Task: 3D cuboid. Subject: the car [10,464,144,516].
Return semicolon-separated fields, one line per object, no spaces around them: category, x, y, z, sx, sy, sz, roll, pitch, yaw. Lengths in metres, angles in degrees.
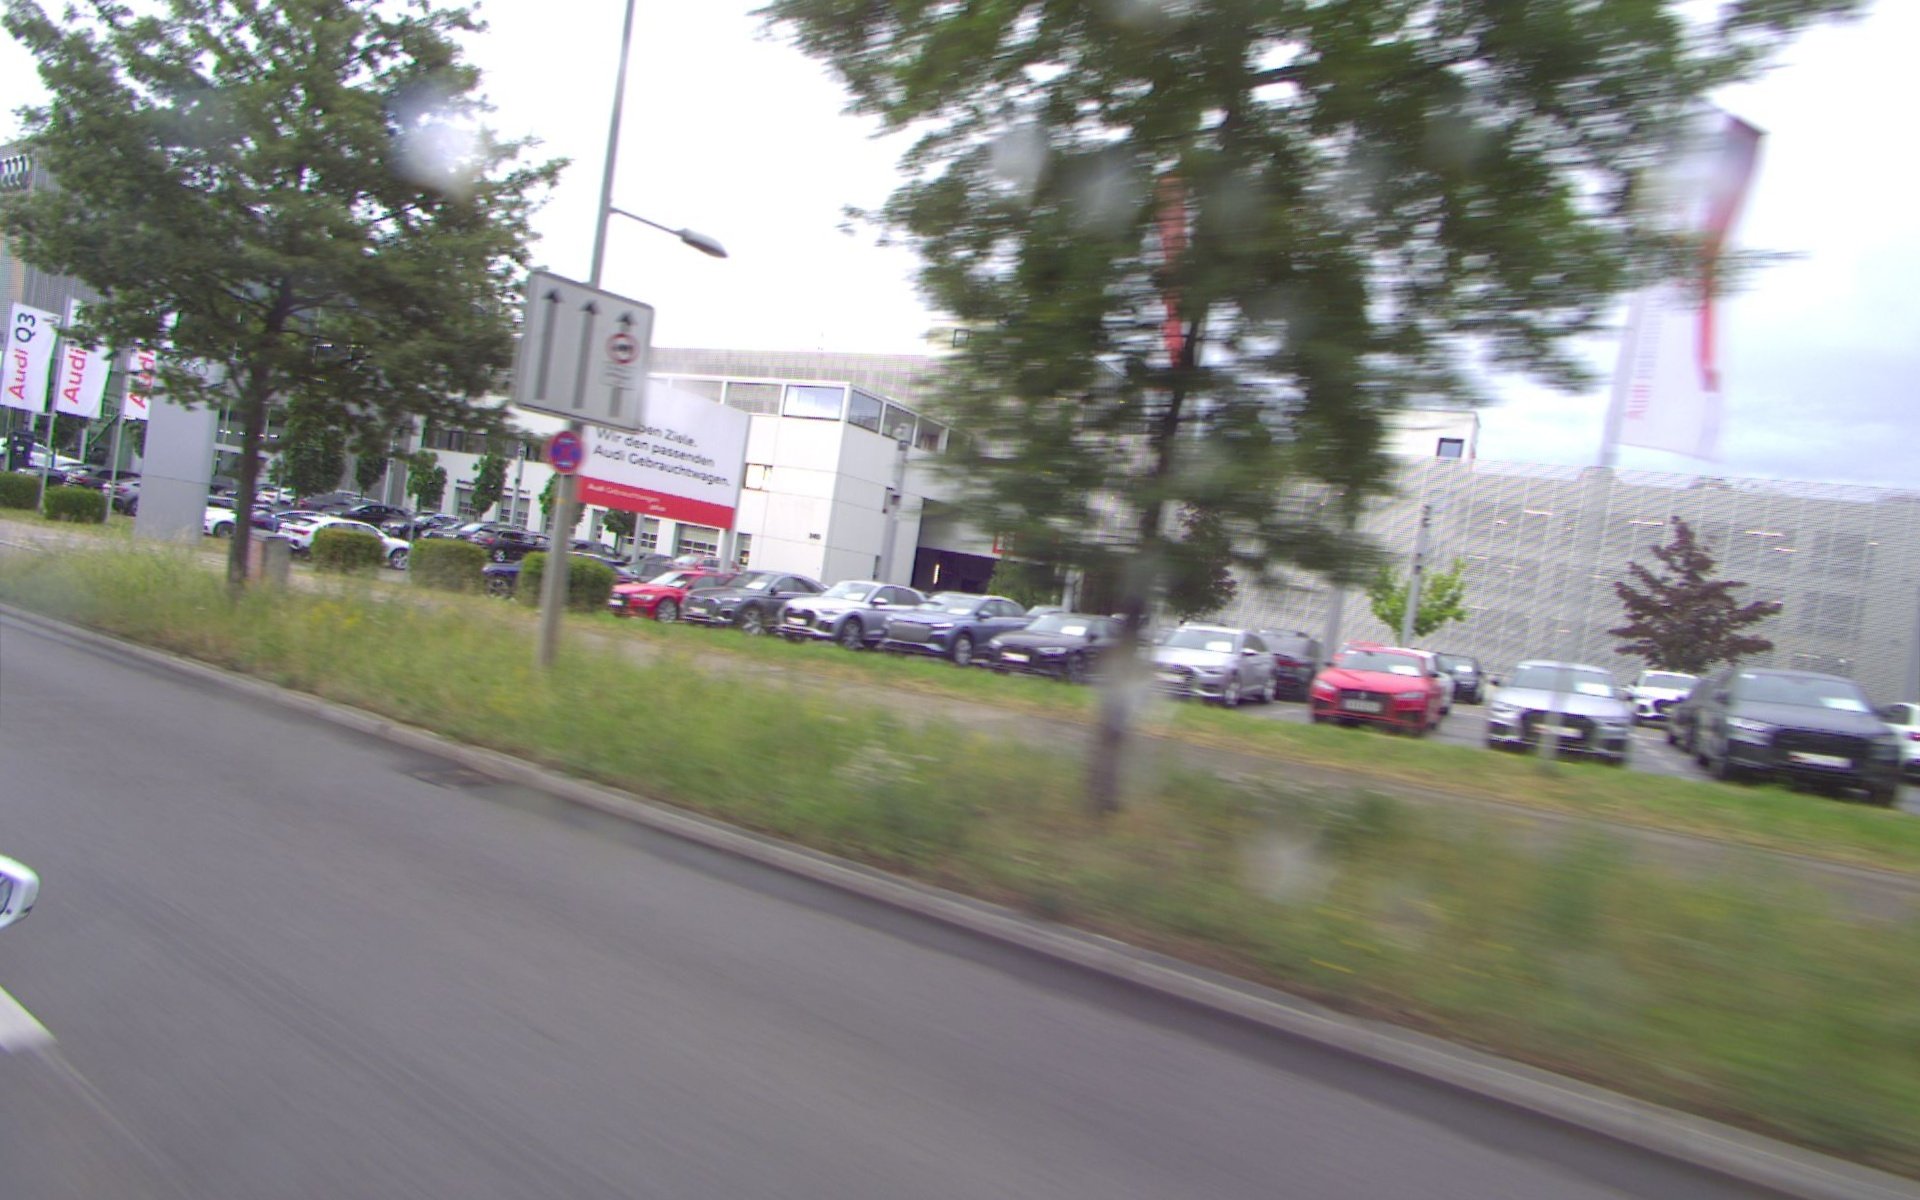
car;-42.180;-5.240;48.165;1.664;1.592;4.429;8;-1;31

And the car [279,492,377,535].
car;-34.900;-4.741;55.621;1.795;1.592;4.113;8;-1;31

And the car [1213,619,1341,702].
car;7.623;1.454;23.863;1.898;1.570;4.469;6;-1;29

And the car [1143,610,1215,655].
car;9.788;1.473;44.754;1.796;1.613;4.284;6;-1;29

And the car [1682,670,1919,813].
car;12.174;1.917;14.836;2.006;1.519;4.402;6;0;31

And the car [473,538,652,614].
car;-11.360;-0.656;28.969;4.279;1.613;1.838;7;0;1

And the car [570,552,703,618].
car;-10.152;-0.476;31.738;3.496;1.614;1.770;7;2;0

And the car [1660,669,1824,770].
car;15.431;2.296;20.095;1.796;1.570;4.284;6;-1;29

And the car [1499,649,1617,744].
car;12.528;1.989;21.252;1.796;1.570;4.284;6;-1;29

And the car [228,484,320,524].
car;-41.447;-5.796;60.874;1.730;1.592;4.113;8;-1;31

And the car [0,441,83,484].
car;-50.185;-7.478;54.005;1.664;1.592;4.268;8;-1;31

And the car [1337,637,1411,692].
car;14.700;2.293;35.591;1.796;1.613;4.284;6;-1;29

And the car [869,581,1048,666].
car;0.092;0.590;22.759;1.899;1.547;4.466;6;0;31

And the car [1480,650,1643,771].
car;9.669;1.680;16.217;1.859;1.445;4.402;6;0;31

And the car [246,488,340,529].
car;-38.847;-5.314;58.699;1.664;1.592;4.113;8;-1;31

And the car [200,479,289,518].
car;-44.960;-6.366;63.301;1.664;1.592;4.113;8;-1;31

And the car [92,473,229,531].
car;-33.831;-4.130;42.680;1.664;1.628;4.113;8;-1;31

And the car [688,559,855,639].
car;-4.742;0.035;25.921;1.796;1.613;4.284;6;-1;29

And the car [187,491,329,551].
car;-27.340;-3.061;39.302;1.664;1.612;4.113;6;-2;31

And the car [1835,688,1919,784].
car;17.963;2.549;18.528;1.796;1.570;4.284;6;-1;29

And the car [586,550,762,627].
car;-7.554;-0.249;27.005;1.897;1.570;4.471;6;-1;27

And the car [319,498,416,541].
car;-32.087;-4.341;54.563;1.664;1.593;4.112;9;0;30

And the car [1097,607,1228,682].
car;5.310;1.191;25.917;1.898;1.570;4.469;6;-1;29

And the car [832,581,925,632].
car;-3.301;0.253;41.174;3.496;1.614;1.770;7;2;0

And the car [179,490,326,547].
car;-28.812;-3.295;41.129;1.664;1.613;4.527;6;-1;30

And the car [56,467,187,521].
car;-37.765;-4.753;45.405;1.664;1.592;4.113;8;-1;31

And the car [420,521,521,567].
car;-24.010;-2.706;49.495;1.664;1.593;4.113;7;-1;30

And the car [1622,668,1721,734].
car;21.063;2.955;29.955;1.796;1.613;4.284;6;-1;29

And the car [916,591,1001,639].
car;-0.060;0.642;44.059;3.496;1.614;1.770;7;2;0

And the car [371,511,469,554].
car;-28.055;-3.480;52.400;1.664;1.593;4.112;7;-1;31

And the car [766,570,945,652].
car;-2.405;0.328;24.275;1.899;1.570;4.466;6;0;31

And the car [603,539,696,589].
car;-15.541;-1.784;50.497;1.967;1.899;3.993;8;-1;32

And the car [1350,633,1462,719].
car;10.181;1.712;22.771;1.796;1.570;4.284;6;-1;29

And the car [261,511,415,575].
car;-21.691;-1.945;35.270;1.913;1.613;4.119;6;-2;23

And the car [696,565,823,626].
car;-6.893;-0.161;34.873;3.920;1.614;1.770;7;2;0

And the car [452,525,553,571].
car;-21.844;-2.479;48.170;1.664;1.593;4.113;6;-1;30

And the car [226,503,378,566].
car;-23.744;-2.330;36.458;1.840;1.612;4.113;6;-2;31

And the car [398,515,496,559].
car;-26.250;-3.220;51.576;1.664;1.593;4.112;8;0;30

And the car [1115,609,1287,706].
car;4.815;1.148;19.578;1.899;1.473;4.468;6;-1;31

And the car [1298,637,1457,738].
car;7.508;1.477;17.829;1.899;1.365;4.401;6;0;31

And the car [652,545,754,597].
car;-12.595;-1.382;49.530;1.969;1.877;4.530;8;-1;35

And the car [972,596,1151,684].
car;2.243;0.862;21.025;1.899;1.474;4.466;6;0;31

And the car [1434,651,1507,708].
car;16.544;2.556;32.493;1.796;1.486;4.284;6;-1;29

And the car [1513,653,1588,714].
car;18.909;2.661;32.338;1.796;1.613;4.284;6;-1;29

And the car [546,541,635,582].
car;-19.341;-1.988;52.750;1.664;1.593;4.111;7;0;32
